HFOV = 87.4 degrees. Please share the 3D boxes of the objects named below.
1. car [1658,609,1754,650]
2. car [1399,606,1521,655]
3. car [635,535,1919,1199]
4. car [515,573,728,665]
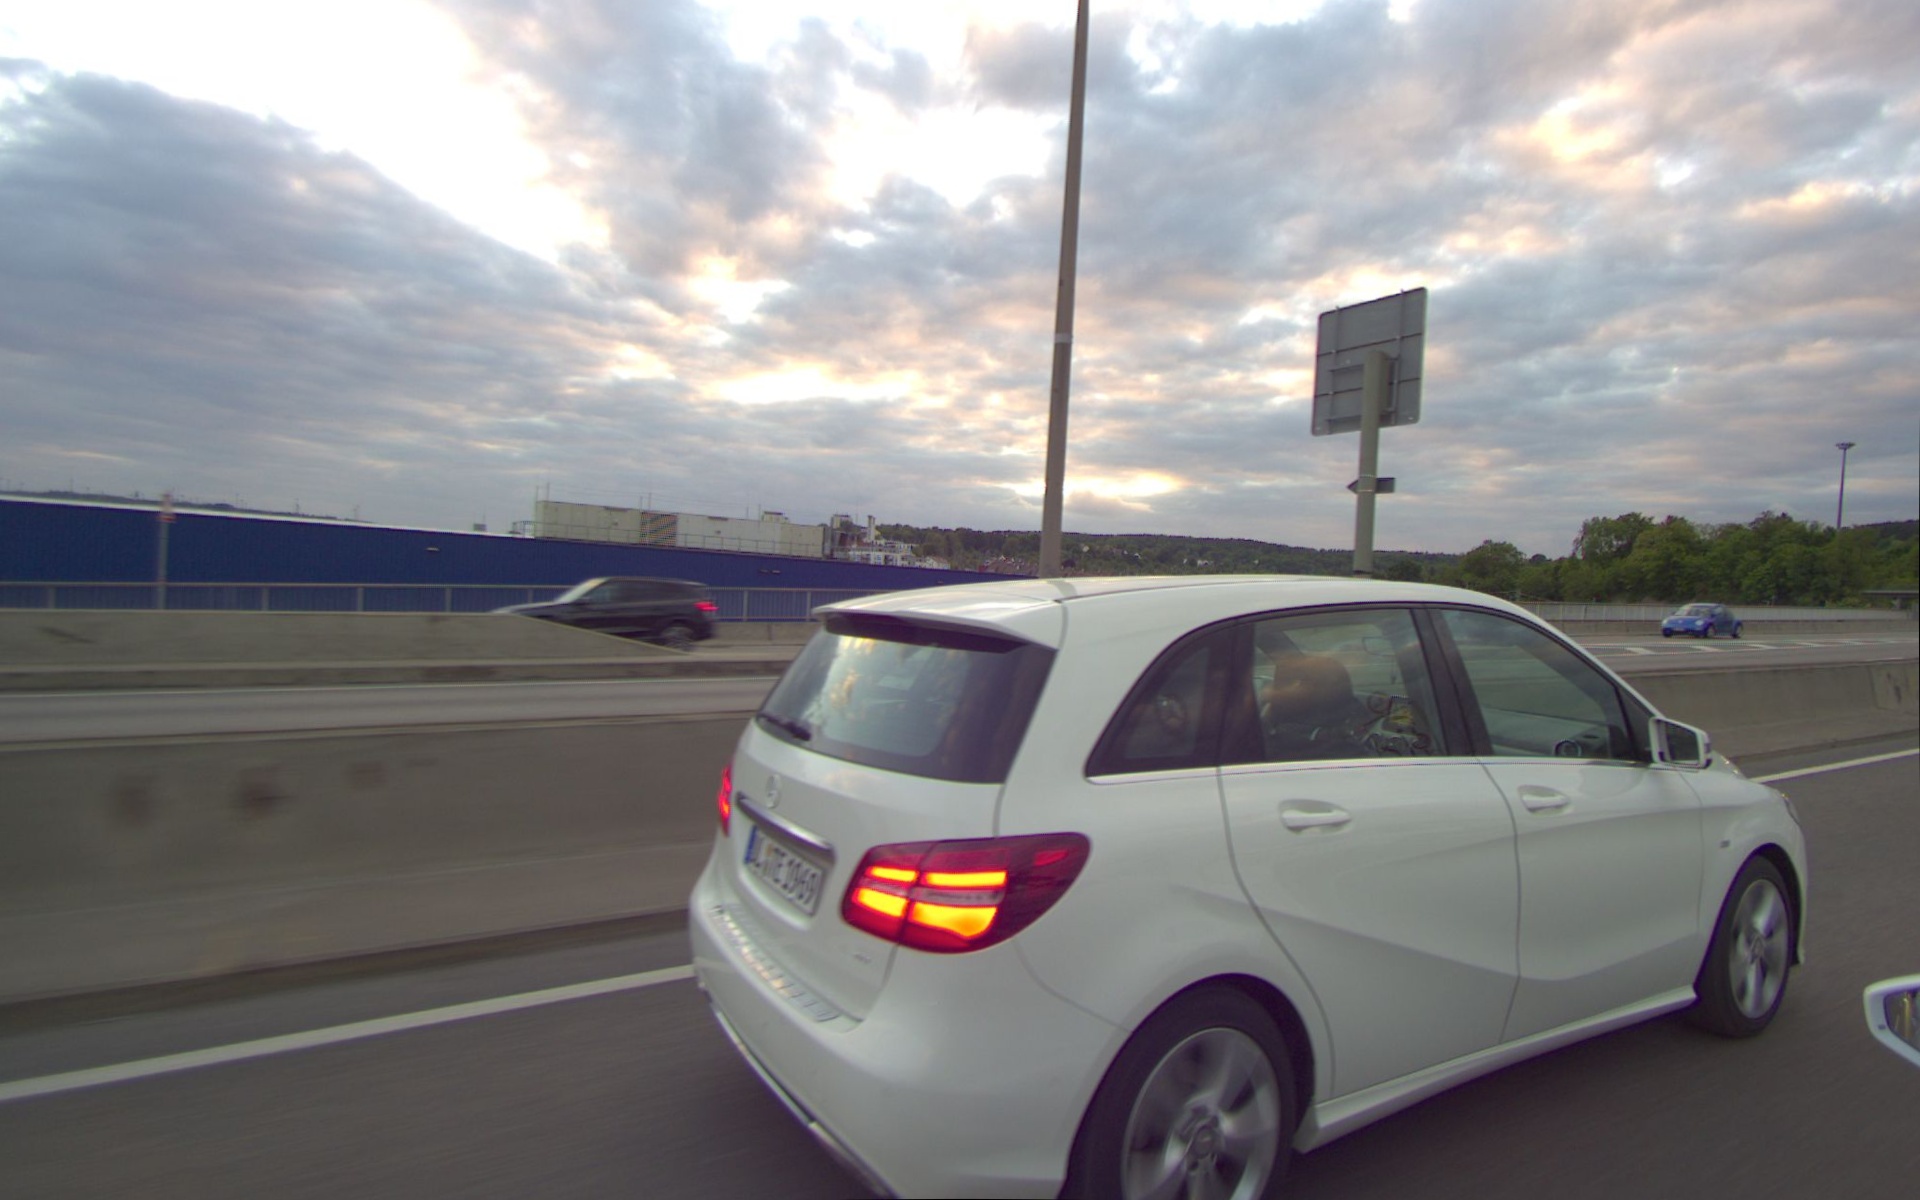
[{"bbox_3d":[32.031,1.258,43.118,4.115,1.617,1.888,1,1,-31],"label":"car"},{"bbox_3d":[16.674,1.008,33.475,3.795,1.506,1.788,2,0,-29],"label":"car"},{"bbox_3d":[1.456,0.730,3.596,4.728,1.557,1.682,2,0,-31],"label":"car"},{"bbox_3d":[-6.968,0.390,20.730,3.949,1.740,1.630,1,1,-27],"label":"car"}]
